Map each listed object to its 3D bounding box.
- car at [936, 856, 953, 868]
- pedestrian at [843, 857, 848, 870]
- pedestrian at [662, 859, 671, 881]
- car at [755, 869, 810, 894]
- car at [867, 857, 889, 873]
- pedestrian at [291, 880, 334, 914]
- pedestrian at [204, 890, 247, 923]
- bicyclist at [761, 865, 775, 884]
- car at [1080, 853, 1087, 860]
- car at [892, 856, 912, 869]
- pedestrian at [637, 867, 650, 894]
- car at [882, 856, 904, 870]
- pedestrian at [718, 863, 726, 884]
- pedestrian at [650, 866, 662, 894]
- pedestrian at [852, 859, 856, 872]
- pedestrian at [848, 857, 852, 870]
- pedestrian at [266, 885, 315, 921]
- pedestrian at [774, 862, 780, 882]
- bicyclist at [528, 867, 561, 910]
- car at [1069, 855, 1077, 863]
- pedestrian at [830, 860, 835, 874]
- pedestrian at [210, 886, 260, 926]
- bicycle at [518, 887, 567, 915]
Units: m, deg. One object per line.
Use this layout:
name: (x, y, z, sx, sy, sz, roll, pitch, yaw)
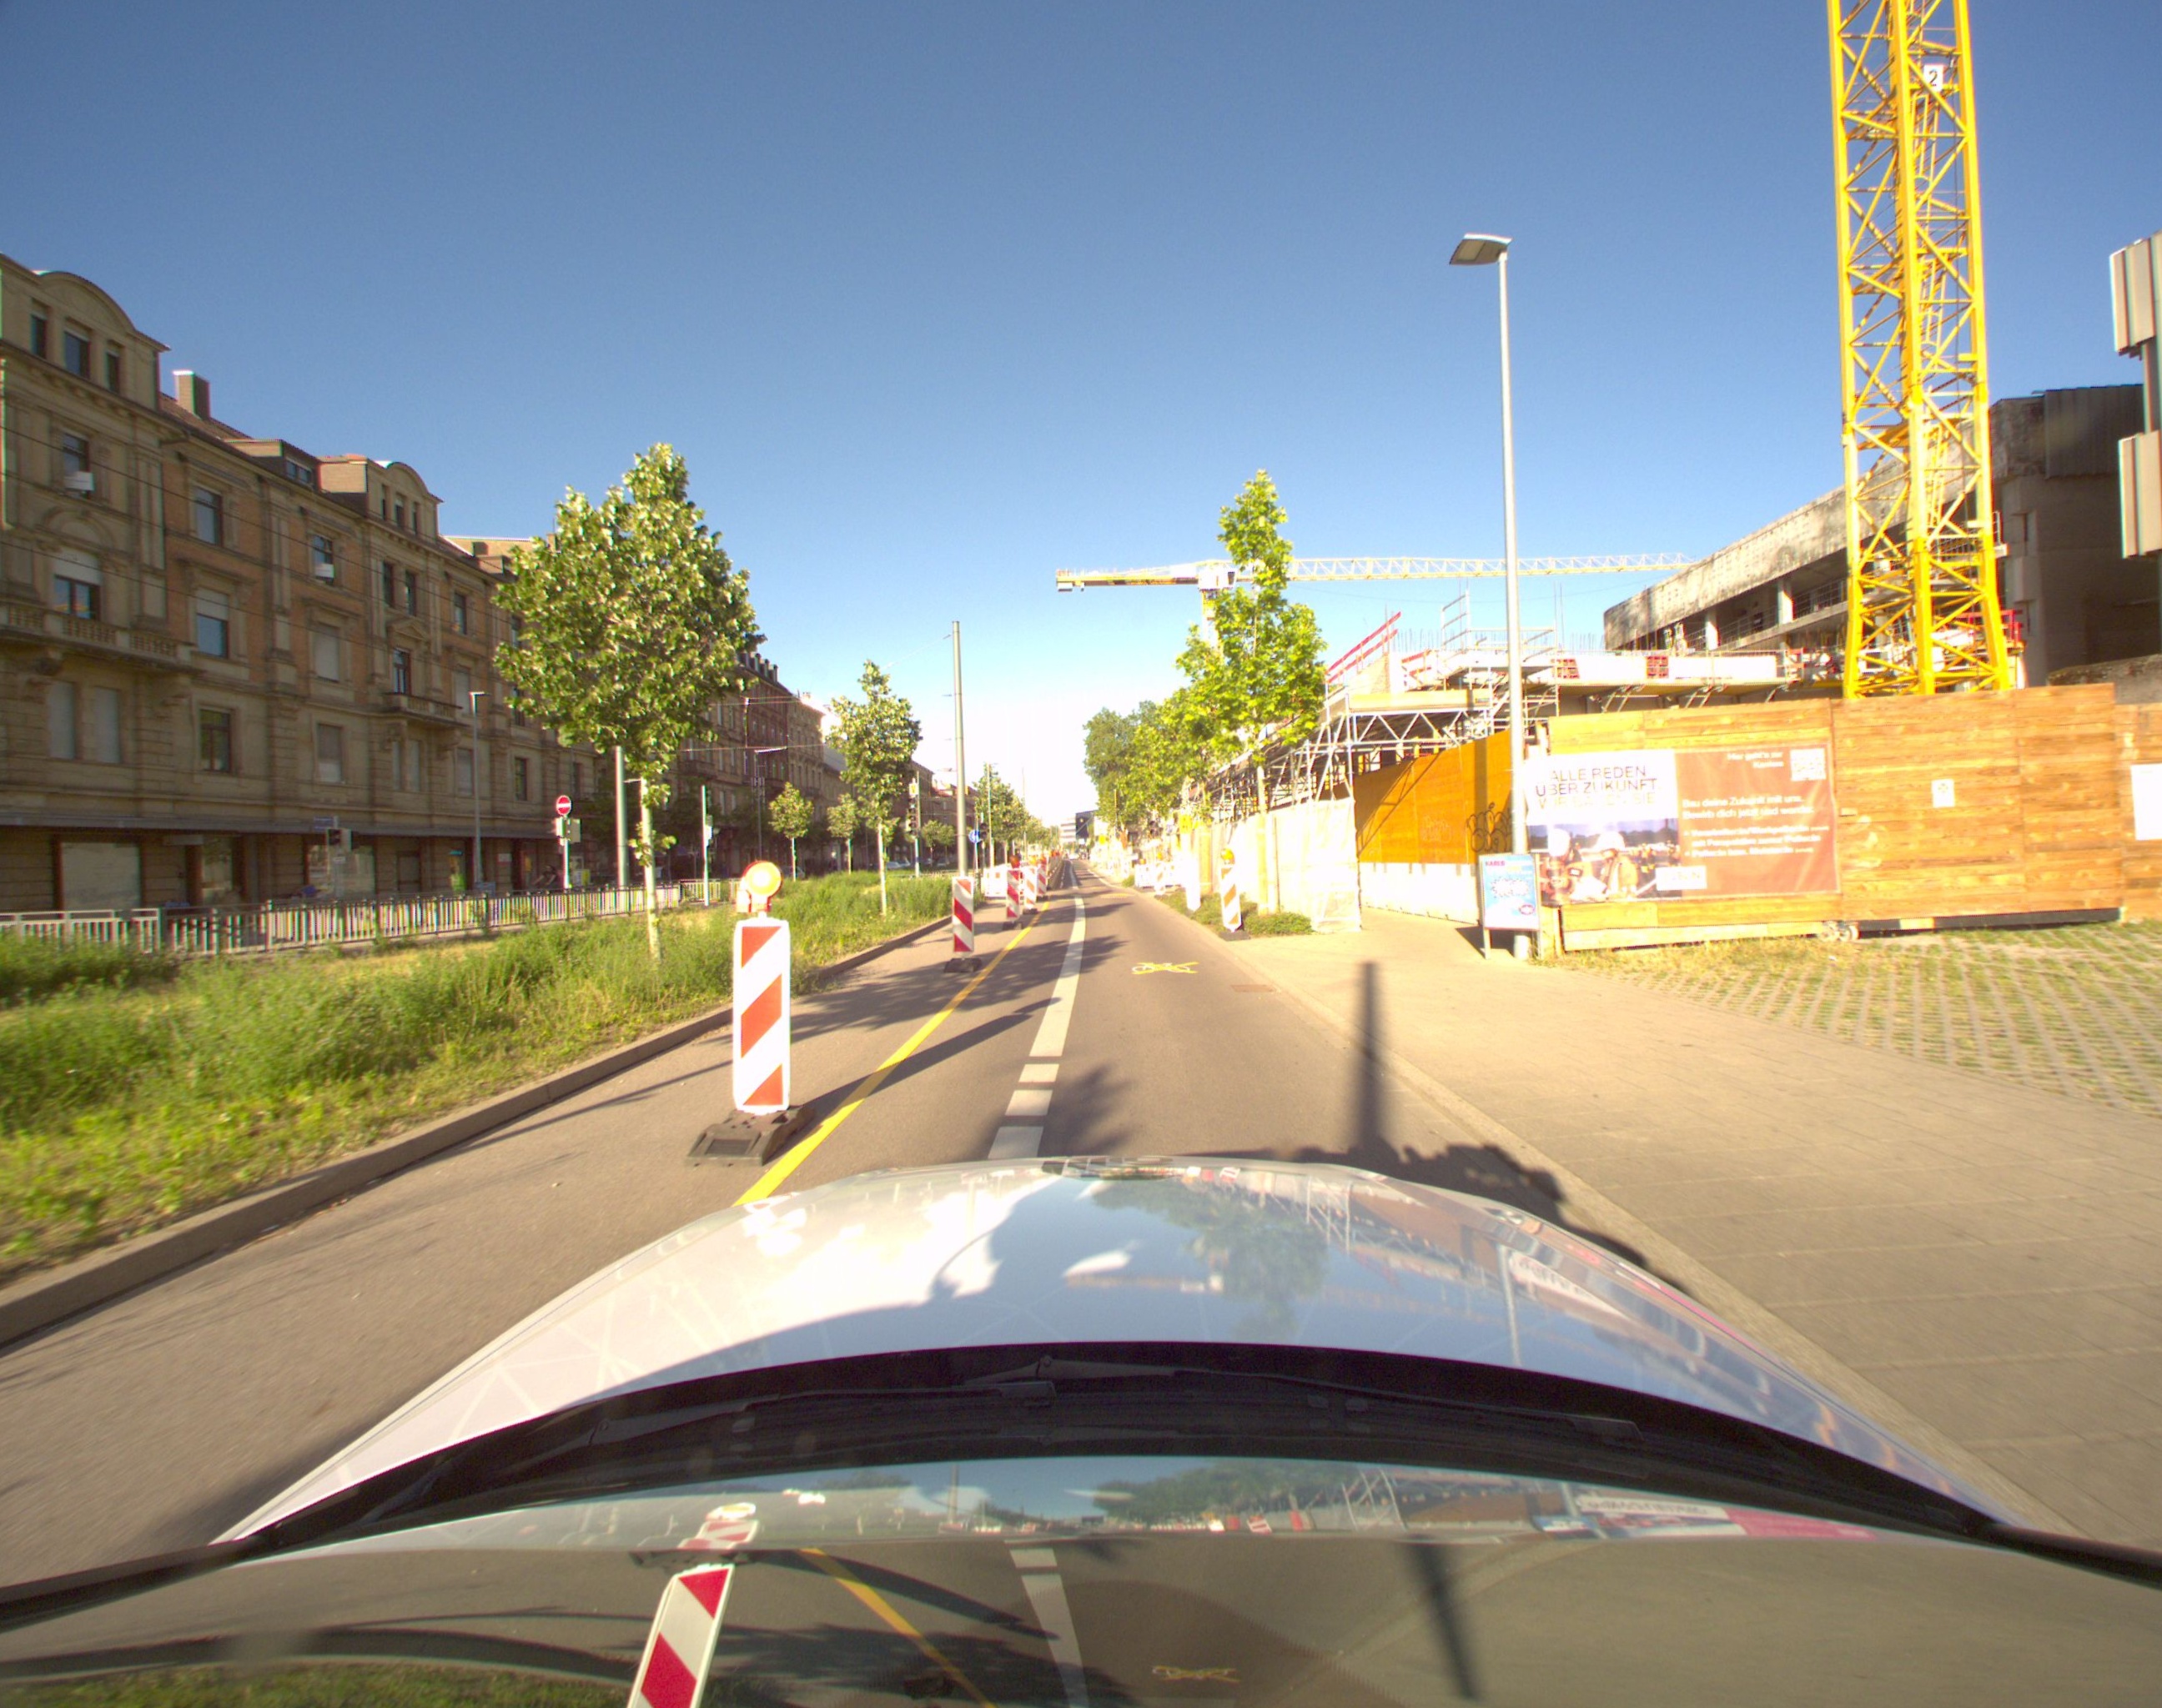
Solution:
car: (-18.576, 1.058, 111.113, 1.589, 1.483, 3.623, -2, 0, 1)
pedestrian: (-27.921, 1.151, 96.598, 0.404, 1.534, 0.435, 0, -1, -1)
pedestrian: (-29.710, 1.153, 58.382, 0.381, 1.585, 0.393, 0, -1, 30)
car: (-18.402, 1.665, 50.430, 1.847, 1.420, 4.069, 1, 0, 0)
car: (-22.698, 1.170, 91.084, 1.562, 1.675, 3.807, -2, 0, -1)
pedestrian: (-28.567, 1.595, 30.278, 0.688, 1.208, 0.929, -2, 0, 0)
pedestrian: (-29.400, 1.793, 27.987, 0.688, 1.059, 0.736, -2, 0, 0)
bicyclist: (-21.046, 1.355, 54.768, 0.635, 1.239, 0.738, -2, 0, 0)
car: (0.653, 0.768, 228.906, 1.877, 1.842, 3.666, -2, 0, -1)
car: (-23.081, 1.093, 105.044, 1.562, 1.562, 4.712, -2, 0, -1)
pedestrian: (-26.173, 1.557, 48.693, 0.485, 1.585, 0.533, 0, -1, -1)
car: (-22.693, 1.110, 98.199, 1.562, 1.562, 4.713, -2, 0, -1)
pedestrian: (-27.261, 1.503, 61.823, 0.402, 1.585, 0.425, 0, -1, -1)
pedestrian: (-26.672, 1.632, 51.097, 0.506, 1.765, 0.406, 0, -1, -1)
pedestrian: (-28.758, 1.434, 103.221, 0.460, 1.585, 0.434, 0, -1, -8)
pedestrian: (-27.412, 1.154, 96.715, 0.404, 1.532, 0.435, 0, -1, -1)
pedestrian: (-28.184, 1.731, 29.054, 0.788, 1.208, 0.929, -2, 0, 0)
pedestrian: (-27.118, 1.634, 72.730, 0.365, 1.765, 0.406, 0, -1, -1)
bicyclist: (-21.447, 1.373, 32.581, 0.693, 1.657, 0.882, -2, 0, 0)
car: (-1.864, 1.152, 194.305, 1.877, 1.842, 3.666, -2, 0, -1)
pedestrian: (-28.124, 1.456, 92.028, 0.432, 1.585, 0.385, 0, -1, -3)
pedestrian: (-28.377, 1.733, 27.337, 0.688, 1.246, 0.929, -2, 0, 0)
bicycle: (-21.424, 1.853, 32.437, 0.693, 0.978, 1.827, -2, 0, 0)
